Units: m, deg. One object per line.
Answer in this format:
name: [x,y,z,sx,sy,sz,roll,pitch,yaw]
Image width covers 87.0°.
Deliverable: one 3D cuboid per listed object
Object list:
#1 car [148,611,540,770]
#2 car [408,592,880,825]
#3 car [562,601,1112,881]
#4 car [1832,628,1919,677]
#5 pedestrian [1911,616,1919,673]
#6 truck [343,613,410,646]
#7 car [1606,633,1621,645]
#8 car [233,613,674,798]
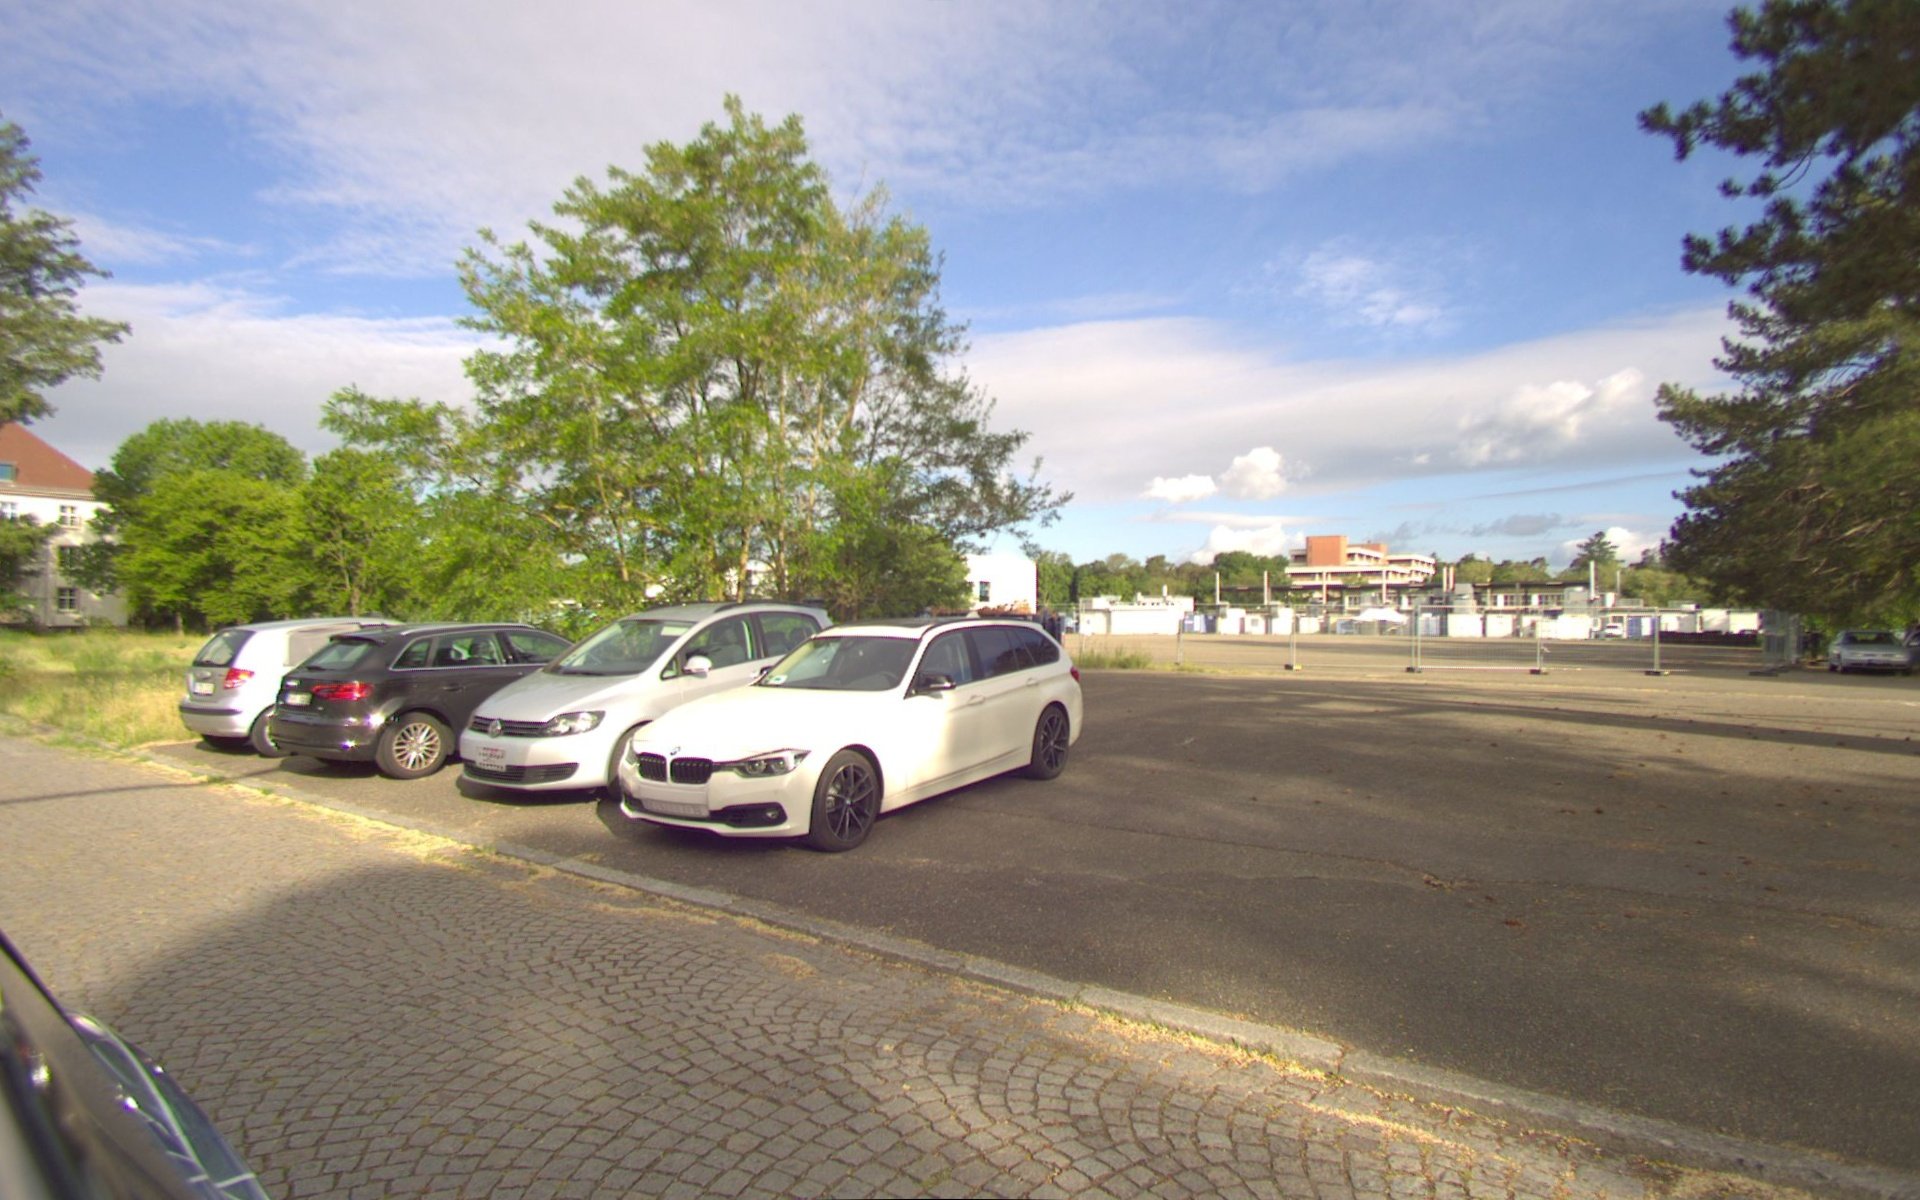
car: [-7.345,0.945,12.383,1.845,1.484,3.652,0,2,34]
car: [-2.721,0.787,9.666,1.852,1.611,4.091,0,1,31]
car: [-0.632,0.841,8.222,1.898,1.466,4.550,-2,0,34]
car: [28.935,1.609,32.076,1.662,1.392,3.950,0,-1,37]
pedestrian: [30.206,1.378,31.108,1.082,1.758,0.877,0,-1,6]
truck: [-47.185,2.376,81.788,6.950,2.607,2.388,-2,-2,39]
car: [98.985,5.906,153.346,1.850,1.685,4.153,0,-1,32]
car: [-5.197,0.935,10.829,1.855,1.440,3.796,0,2,35]
